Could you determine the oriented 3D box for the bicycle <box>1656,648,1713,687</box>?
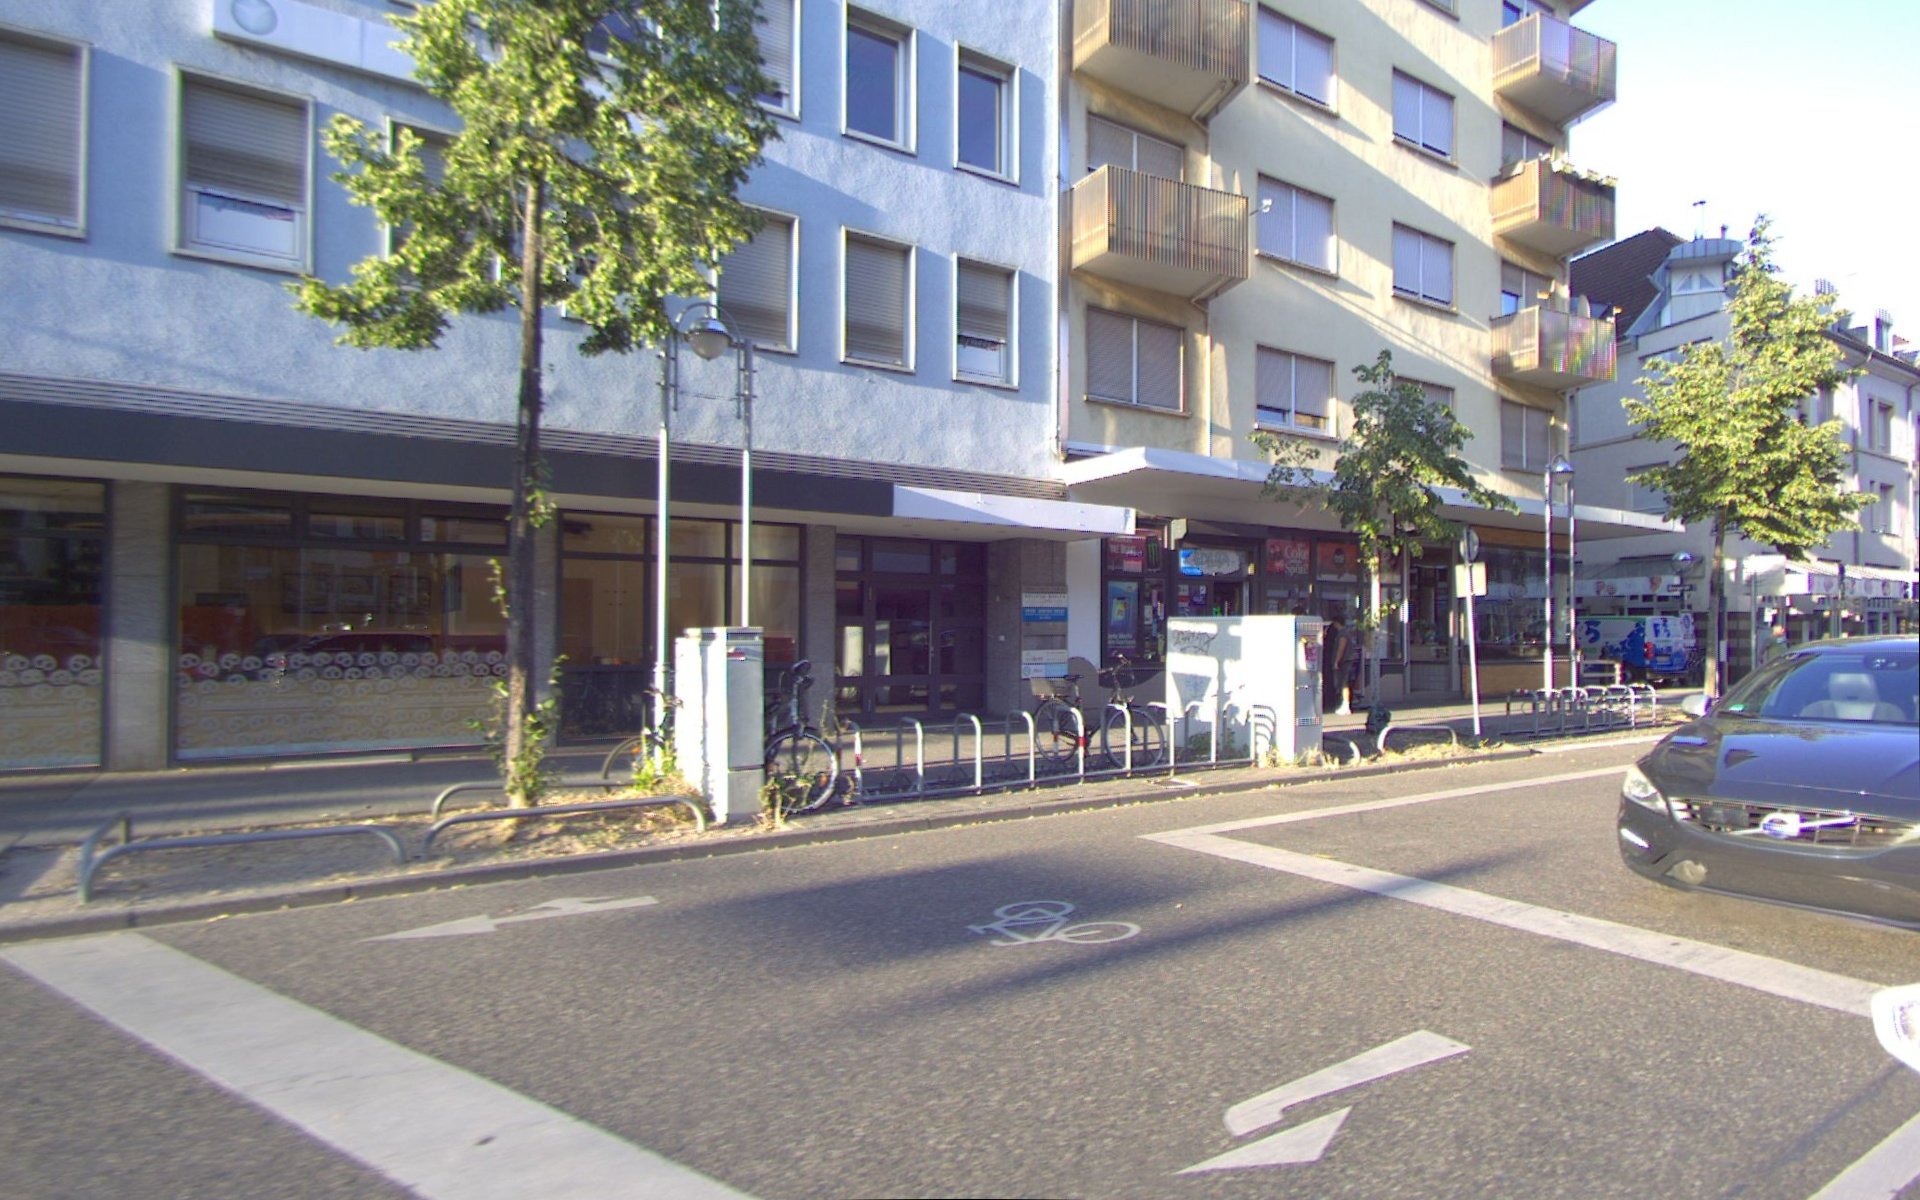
[{"bbox_3d":[19.674,1.818,27.268,1.992,1.005,0.487,2,-1,-31],"label":"bicycle"}]

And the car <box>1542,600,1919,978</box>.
[{"bbox_3d":[5.546,0.813,5.881,4.462,1.568,1.946,0,-2,-34],"label":"car"}]

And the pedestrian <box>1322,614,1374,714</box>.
[{"bbox_3d":[6.789,1.109,17.617,0.728,1.698,0.770,0,-1,11],"label":"pedestrian"}]

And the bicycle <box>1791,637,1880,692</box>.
[{"bbox_3d":[22.562,1.639,25.869,3.094,1.317,0.953,2,-1,-34],"label":"bicycle"}]

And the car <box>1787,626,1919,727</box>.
[{"bbox_3d":[16.182,1.278,17.012,4.459,1.531,1.984,2,-5,-32],"label":"car"}]

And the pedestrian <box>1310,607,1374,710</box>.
[{"bbox_3d":[7.032,1.061,18.515,0.803,1.843,0.737,0,-2,-29],"label":"pedestrian"}]

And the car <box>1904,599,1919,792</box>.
[{"bbox_3d":[10.719,0.861,9.145,4.563,1.666,1.936,2,-3,-31],"label":"car"}]

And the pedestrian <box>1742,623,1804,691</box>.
[{"bbox_3d":[21.045,1.451,26.010,0.979,1.698,0.901,0,-1,-25],"label":"pedestrian"}]

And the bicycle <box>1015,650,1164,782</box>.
[{"bbox_3d":[1.375,1.216,11.063,0.486,1.235,1.999,2,-1,-31],"label":"bicycle"}]

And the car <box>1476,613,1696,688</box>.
[{"bbox_3d":[17.072,1.318,27.687,1.975,1.852,4.847,2,-1,-27],"label":"car"}]

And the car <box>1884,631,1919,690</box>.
[{"bbox_3d":[25.479,1.566,25.794,3.841,1.421,1.652,2,-1,-32],"label":"car"}]

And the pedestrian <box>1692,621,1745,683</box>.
[{"bbox_3d":[21.126,1.442,27.981,0.767,1.698,0.903,2,-1,-17],"label":"pedestrian"}]

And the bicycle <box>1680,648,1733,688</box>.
[{"bbox_3d":[19.904,1.802,26.766,1.995,1.005,0.487,2,-1,-34],"label":"bicycle"}]

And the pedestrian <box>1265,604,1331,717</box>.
[{"bbox_3d":[5.797,1.021,17.234,0.732,1.872,0.766,-1,-1,-22],"label":"pedestrian"}]

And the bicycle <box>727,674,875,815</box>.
[{"bbox_3d":[-1.489,1.240,9.079,0.486,1.005,1.996,2,-1,-35],"label":"bicycle"}]
